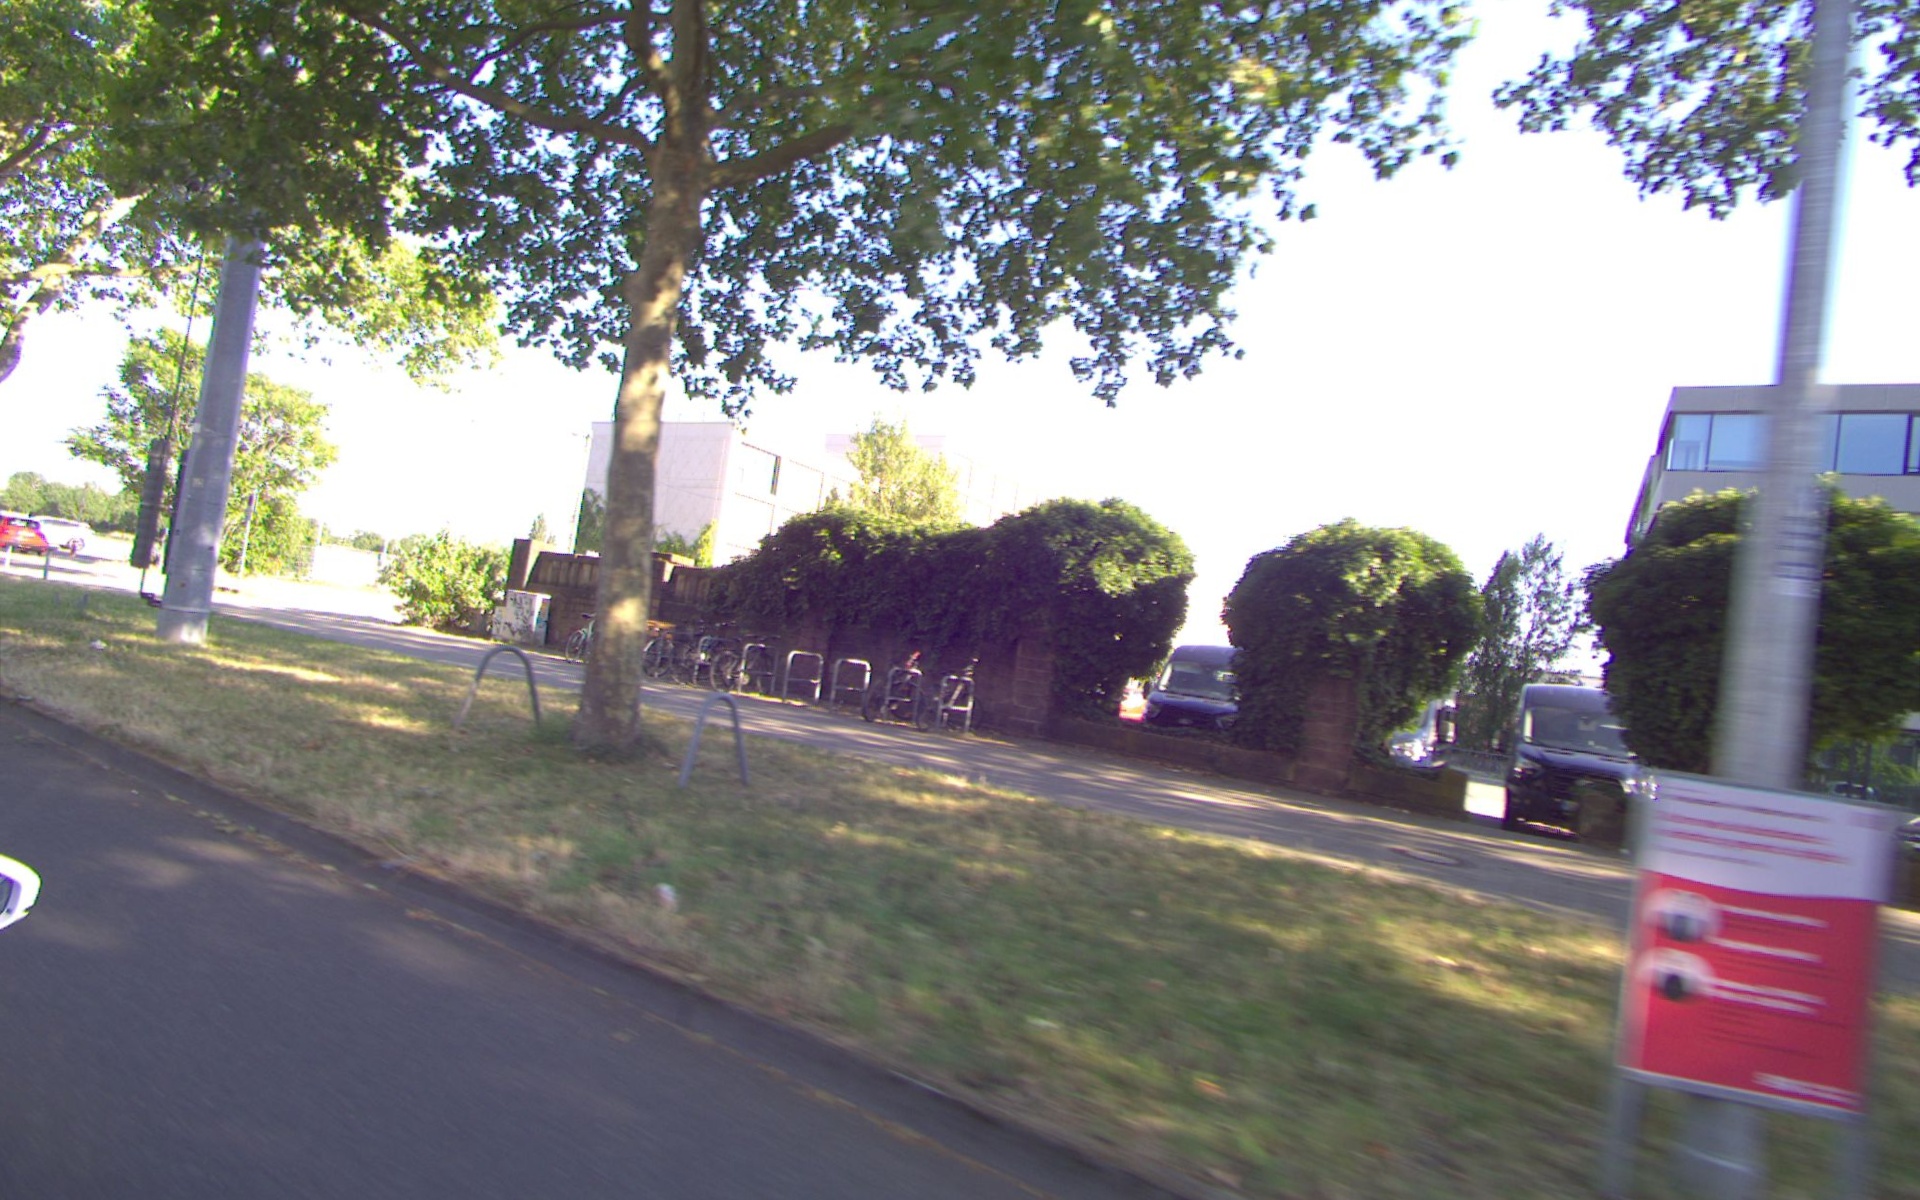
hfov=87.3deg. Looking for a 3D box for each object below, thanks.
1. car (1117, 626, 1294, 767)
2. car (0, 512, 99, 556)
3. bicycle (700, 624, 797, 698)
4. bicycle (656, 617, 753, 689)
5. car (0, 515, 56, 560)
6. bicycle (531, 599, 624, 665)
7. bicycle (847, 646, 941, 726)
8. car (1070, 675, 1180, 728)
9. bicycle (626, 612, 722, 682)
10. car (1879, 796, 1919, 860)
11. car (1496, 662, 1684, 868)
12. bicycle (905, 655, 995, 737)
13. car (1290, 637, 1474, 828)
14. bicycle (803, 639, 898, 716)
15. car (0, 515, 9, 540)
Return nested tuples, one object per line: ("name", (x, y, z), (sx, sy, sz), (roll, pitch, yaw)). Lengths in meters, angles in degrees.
("car", (4.747, 1.861, 19.035), (1.967, 2.161, 3.997), (6, -3, 31))
("car", (-51.312, -3.715, 56.189), (1.888, 1.676, 4.466), (6, -4, 36))
("bicycle", (-3.604, 1.076, 17.271), (0.432, 1.133, 1.777), (7, -2, 31))
("bicycle", (-4.500, 0.970, 17.843), (0.432, 1.133, 1.777), (7, -2, 31))
("car", (-40.024, -2.727, 42.475), (3.740, 1.532, 1.618), (6, -3, 32))
("bicycle", (-7.339, 0.642, 19.381), (0.431, 1.133, 1.779), (7, -2, 24))
("bicycle", (-1.003, 1.365, 15.737), (0.432, 1.133, 1.777), (7, -2, 31))
("car", (7.183, 4.409, 43.785), (4.315, 1.629, 1.872), (10, -3, -26))
("bicycle", (-5.252, 0.892, 18.579), (0.432, 1.133, 1.777), (7, -2, 31))
("car", (29.313, 6.893, 29.258), (3.601, 1.683, 1.651), (8, -3, -3))
("car", (10.053, 2.605, 16.292), (1.967, 2.516, 5.478), (6, -4, 31))
("bicycle", (-0.119, 1.462, 15.182), (0.432, 1.133, 1.691), (7, -2, 31))
("car", (7.399, 2.281, 17.230), (1.967, 2.516, 5.478), (6, -4, 31))
("bicycle", (-1.749, 1.276, 16.301), (0.432, 1.133, 1.777), (7, -2, 31))
("car", (-64.906, -5.083, 65.600), (1.642, 1.626, 3.822), (6, -4, 32))
